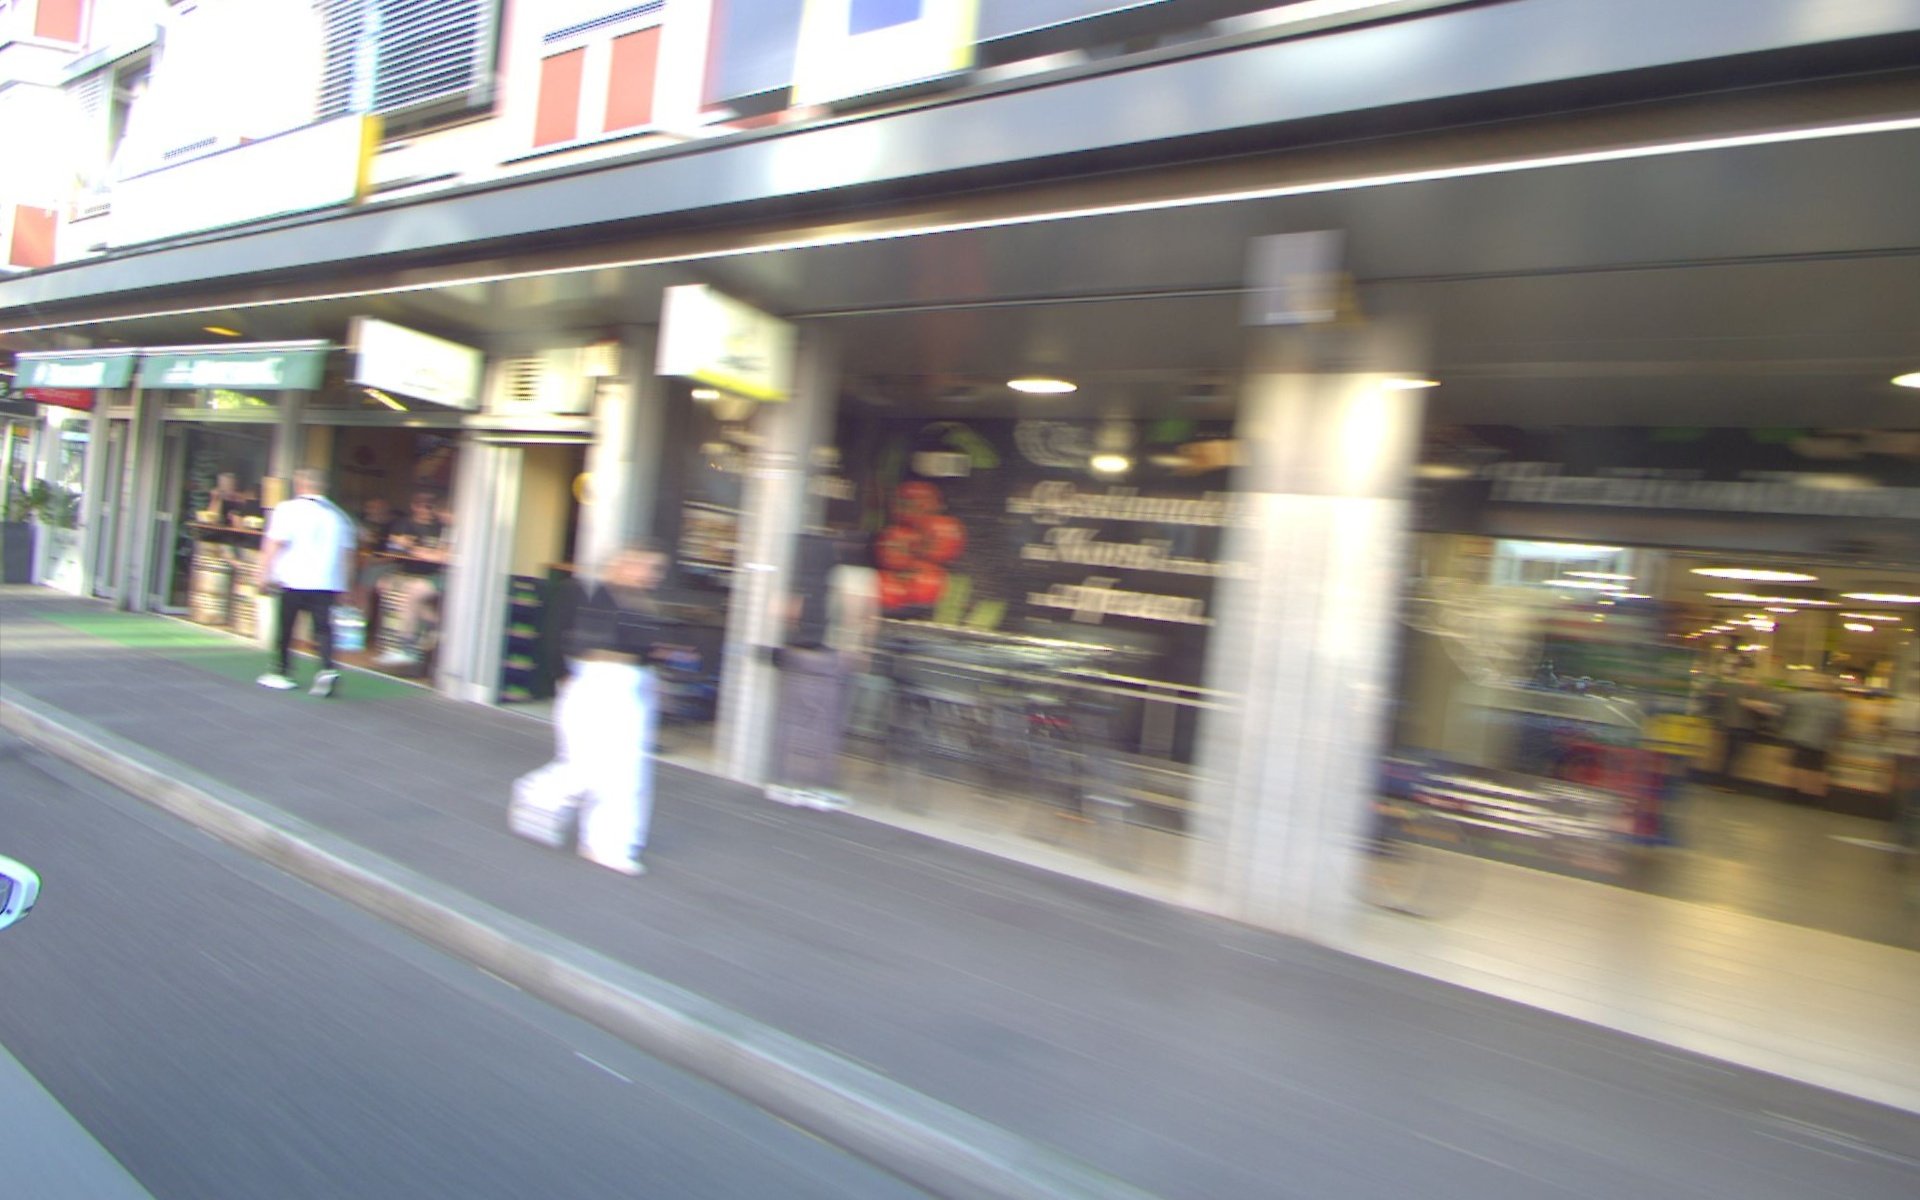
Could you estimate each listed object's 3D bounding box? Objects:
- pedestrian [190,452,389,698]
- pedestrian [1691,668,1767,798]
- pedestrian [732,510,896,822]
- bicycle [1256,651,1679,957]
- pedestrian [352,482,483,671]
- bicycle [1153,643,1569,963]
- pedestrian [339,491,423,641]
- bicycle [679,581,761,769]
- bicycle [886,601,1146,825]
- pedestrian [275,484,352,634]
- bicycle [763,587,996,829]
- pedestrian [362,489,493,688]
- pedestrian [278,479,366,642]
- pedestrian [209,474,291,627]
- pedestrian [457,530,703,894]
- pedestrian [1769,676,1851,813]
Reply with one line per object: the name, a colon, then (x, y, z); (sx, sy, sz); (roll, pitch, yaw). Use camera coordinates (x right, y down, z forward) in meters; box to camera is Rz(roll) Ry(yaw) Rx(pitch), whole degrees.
pedestrian: (-5.386, -0.205, 8.096); (1.032, 1.800, 0.906); (8, 3, 32)
pedestrian: (10.787, 1.852, 14.119); (0.627, 1.705, 0.412); (8, 2, 45)
pedestrian: (-0.877, 0.375, 6.190); (0.580, 1.745, 0.788); (7, 4, 14)
bicycle: (2.796, 1.053, 5.836); (0.551, 1.252, 2.064); (6, 1, -34)
pedestrian: (-5.203, -0.222, 9.666); (0.684, 1.697, 0.772); (7, 3, 30)
bicycle: (2.072, 0.986, 5.569); (0.551, 1.252, 2.064); (6, 1, -34)
pedestrian: (-6.585, -0.382, 11.438); (0.533, 1.627, 0.519); (8, 2, 37)
bicycle: (-1.774, 0.505, 7.552); (0.403, 1.252, 1.383); (7, 1, -11)
bicycle: (0.311, 0.736, 7.239); (0.572, 1.269, 2.097); (8, -1, -34)
pedestrian: (-7.338, -0.462, 11.424); (0.456, 1.624, 0.456); (8, 2, 32)
bicycle: (-0.622, 0.627, 6.702); (0.466, 1.267, 2.064); (6, 1, -34)
pedestrian: (-4.734, -0.102, 8.947); (0.628, 1.658, 0.726); (8, 4, 33)
pedestrian: (-6.811, -0.418, 10.745); (0.513, 1.653, 0.516); (8, 2, 37)
pedestrian: (-7.941, -0.548, 11.254); (0.521, 1.624, 0.456); (8, 2, 32)
pedestrian: (-1.826, 0.488, 4.854); (0.775, 1.542, 0.665); (7, 4, 28)
pedestrian: (11.347, 1.916, 13.435); (0.627, 1.705, 0.412); (8, 2, 45)
